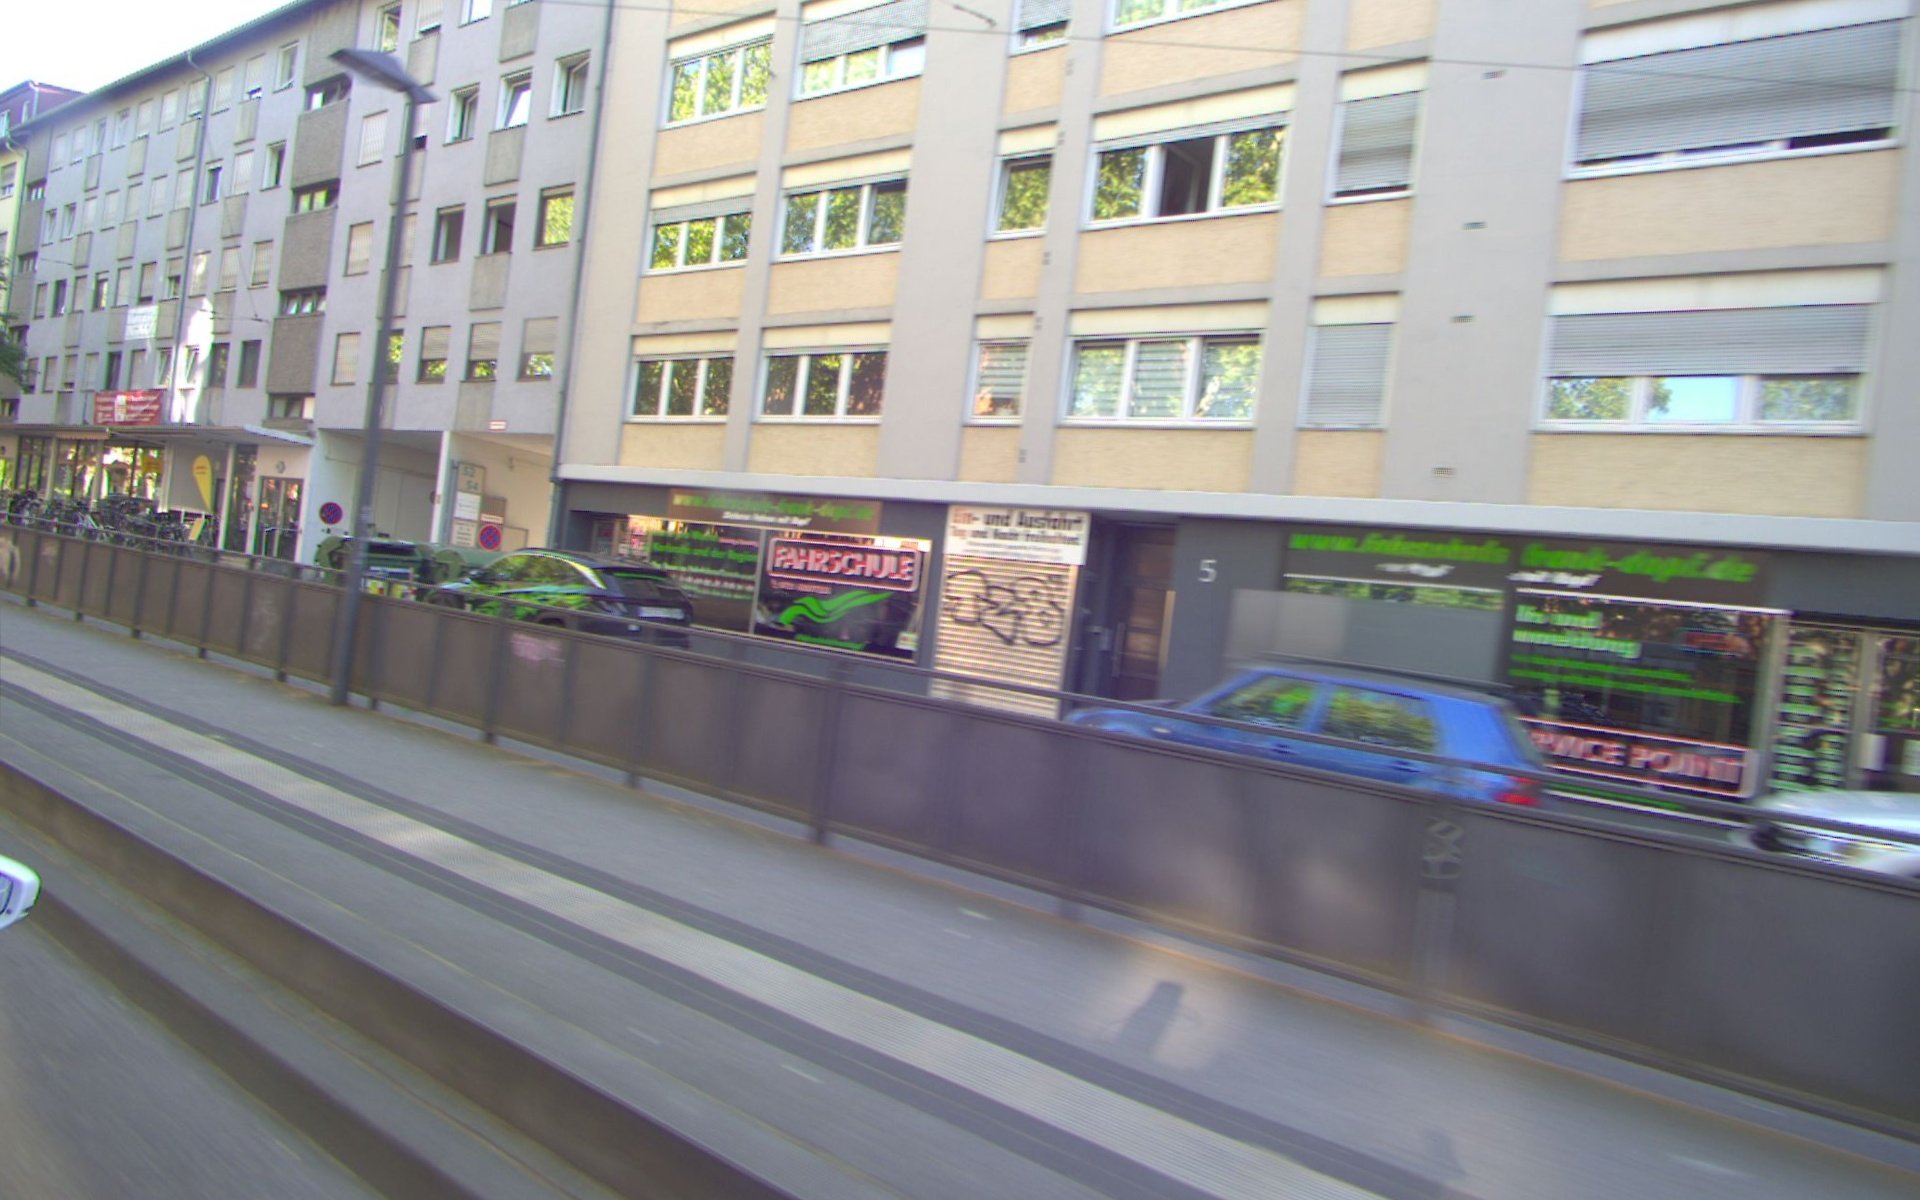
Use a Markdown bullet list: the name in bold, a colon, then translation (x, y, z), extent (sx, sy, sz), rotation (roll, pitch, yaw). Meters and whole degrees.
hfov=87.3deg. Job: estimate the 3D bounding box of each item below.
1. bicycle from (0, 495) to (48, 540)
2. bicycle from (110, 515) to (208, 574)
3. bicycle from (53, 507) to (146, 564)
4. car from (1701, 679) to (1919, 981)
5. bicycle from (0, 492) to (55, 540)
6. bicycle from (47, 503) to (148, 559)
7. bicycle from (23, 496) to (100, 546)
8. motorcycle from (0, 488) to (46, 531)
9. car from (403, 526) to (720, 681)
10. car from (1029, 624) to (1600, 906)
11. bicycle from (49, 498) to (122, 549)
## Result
- **bicycle**: translation (-27.723, -2.443, 29.493), extent (2.165, 1.149, 0.599), rotation (7, -1, 26)
- **bicycle**: translation (-19.488, -1.346, 24.473), extent (2.394, 1.149, 0.623), rotation (7, -1, 21)
- **bicycle**: translation (-21.733, -1.630, 25.409), extent (2.389, 1.149, 0.604), rotation (7, -1, 21)
- **car**: translation (7.210, 1.588, 5.840), extent (4.340, 1.624, 1.804), rotation (6, -2, 30)
- **bicycle**: translation (-26.706, -2.417, 28.478), extent (2.163, 1.149, 0.599), rotation (7, -1, 21)
- **bicycle**: translation (-22.699, -1.827, 26.457), extent (2.867, 1.149, 0.613), rotation (7, -1, 21)
- **bicycle**: translation (-25.503, -2.252, 28.559), extent (2.163, 1.149, 0.599), rotation (7, -1, 21)
- **motorcycle**: translation (-32.940, -3.171, 35.146), extent (2.009, 1.295, 0.893), rotation (6, -1, 32)
- **car**: translation (-5.748, 0.019, 14.371), extent (4.325, 1.634, 1.861), rotation (6, -2, 32)
- **car**: translation (2.907, 1.221, 8.617), extent (4.177, 1.457, 1.747), rotation (6, -2, 32)
- **bicycle**: translation (-23.910, -2.089, 27.496), extent (2.163, 1.149, 0.411), rotation (7, -1, 21)
